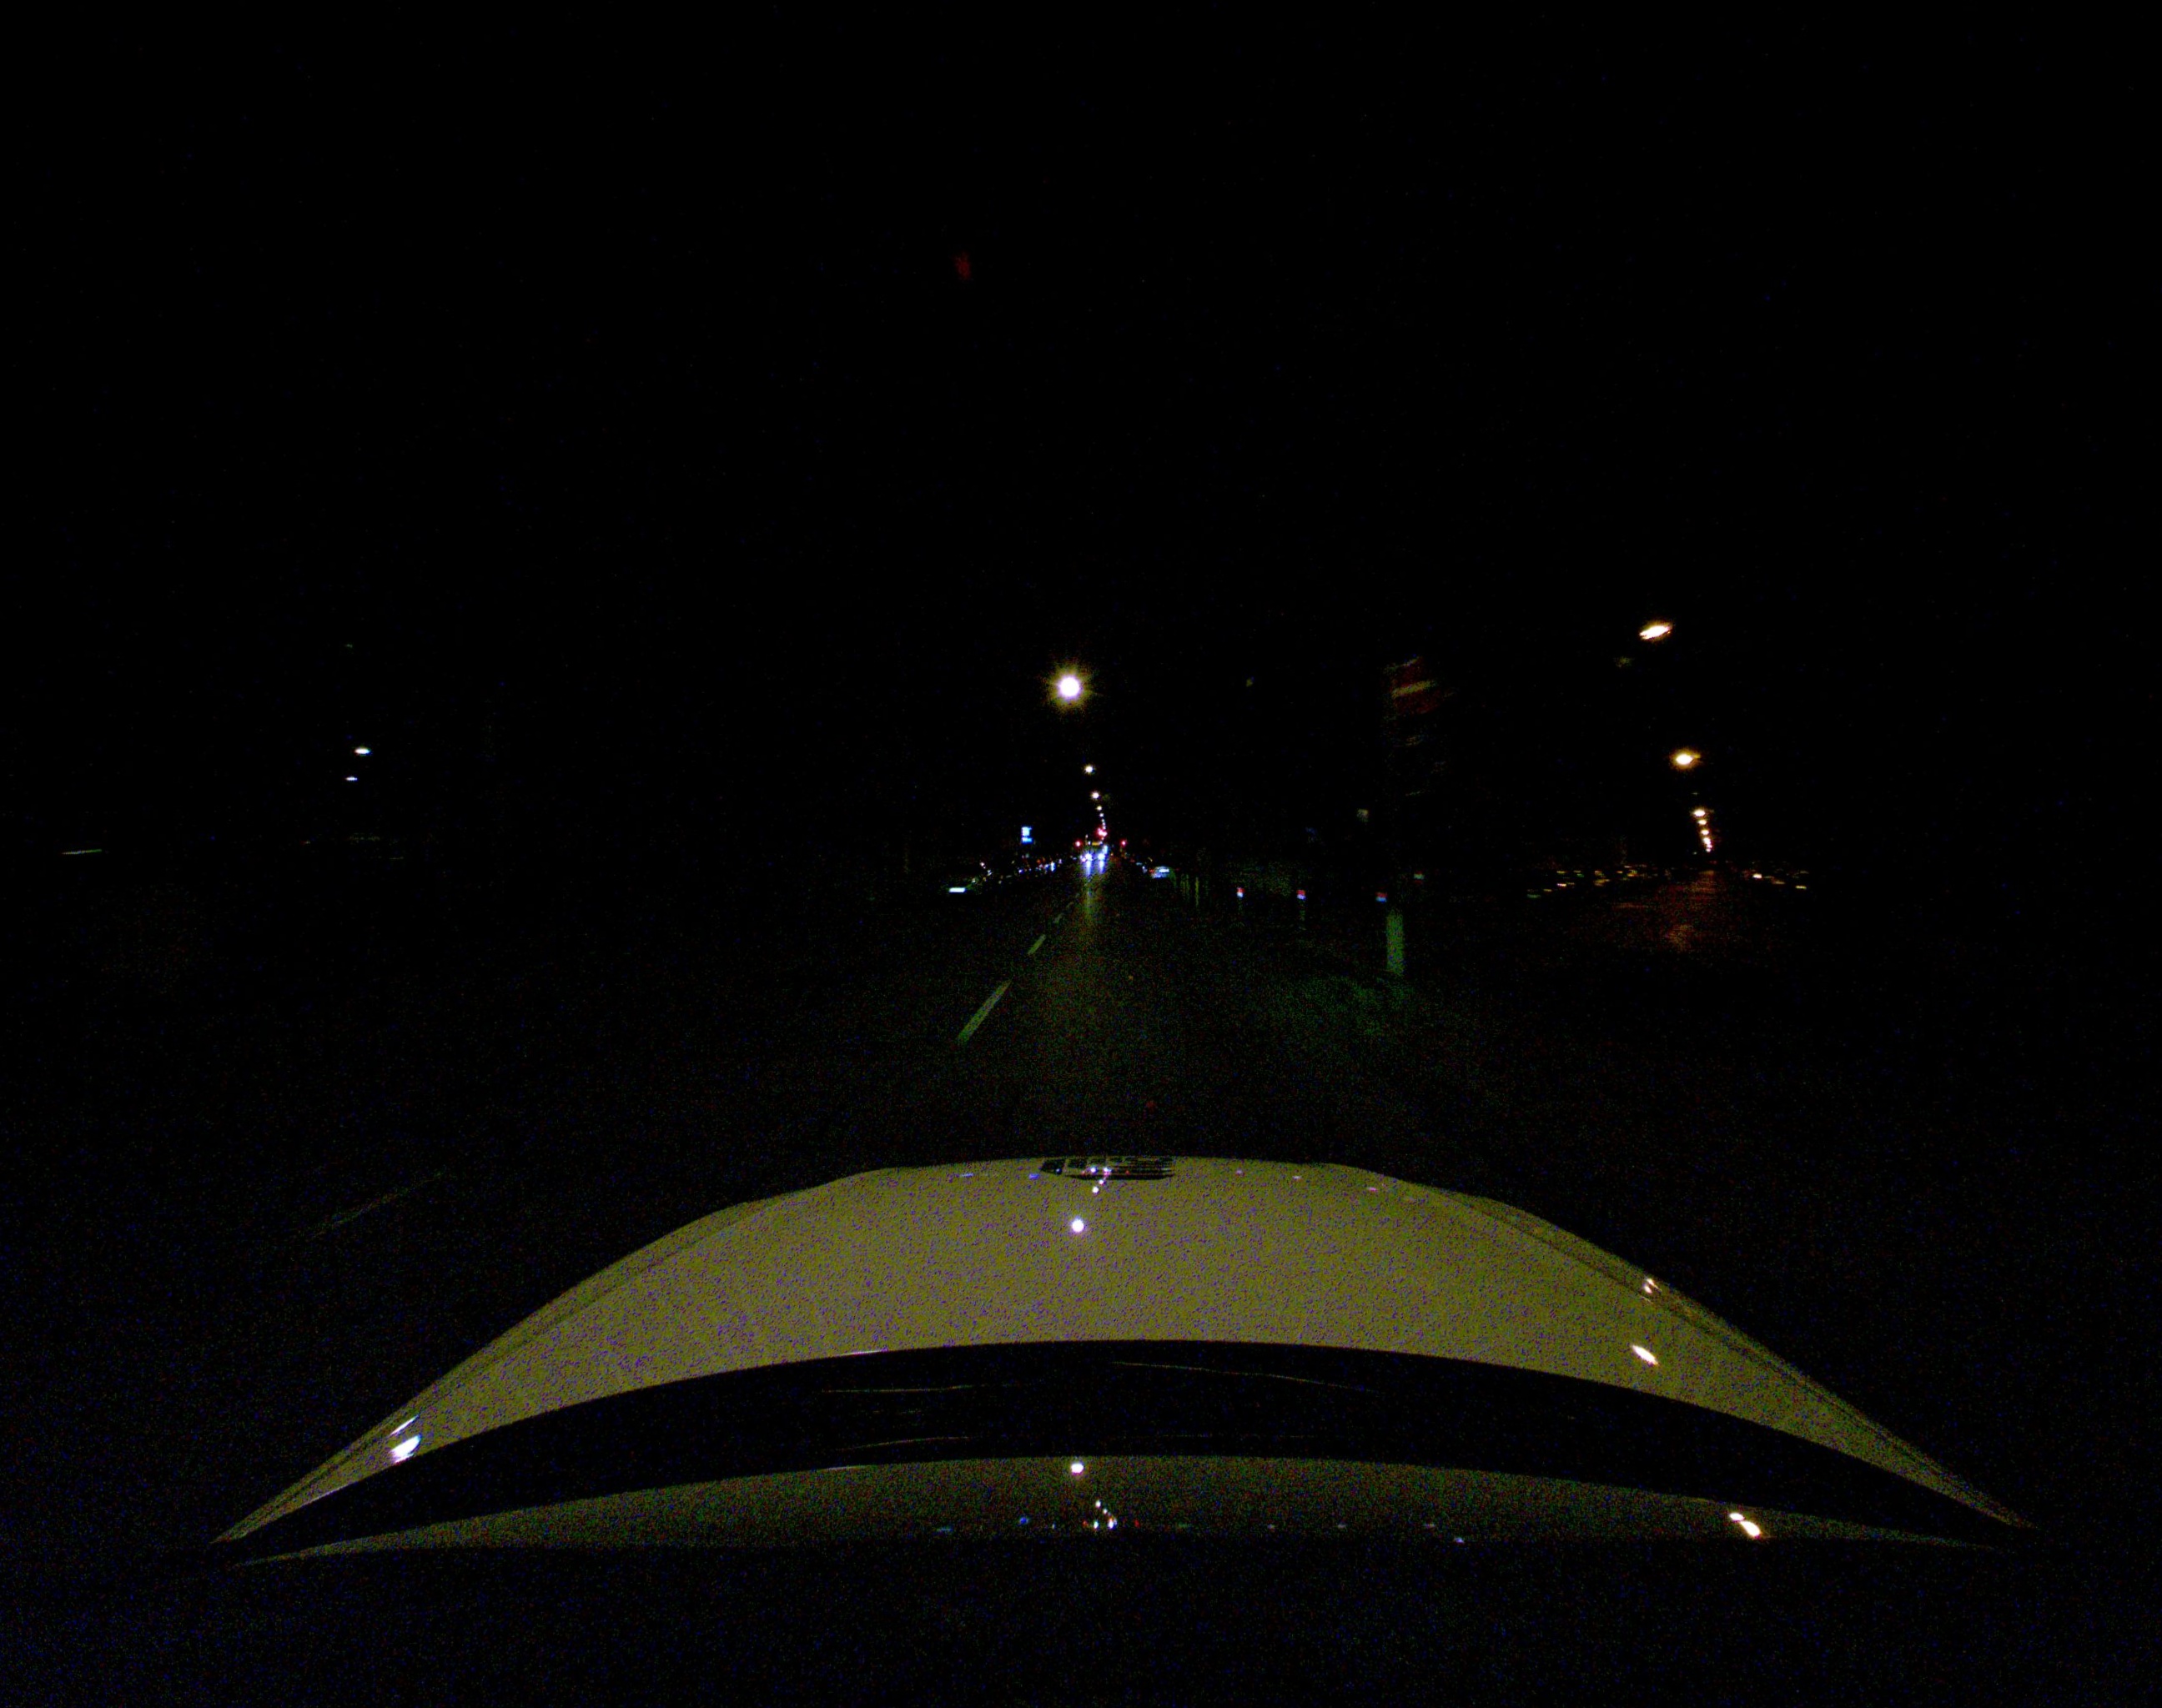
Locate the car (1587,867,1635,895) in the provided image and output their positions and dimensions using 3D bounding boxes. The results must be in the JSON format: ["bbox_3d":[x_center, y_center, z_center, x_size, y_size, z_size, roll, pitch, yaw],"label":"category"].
[{"bbox_3d":[28.498,1.411,43.728,1.752,1.417,3.944,0,-1,39],"label":"car"}]

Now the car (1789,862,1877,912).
[{"bbox_3d":[23.486,0.967,25.543,1.779,1.417,3.861,0,-1,39],"label":"car"}]

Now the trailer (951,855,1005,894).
[{"bbox_3d":[-4.524,0.882,36.224,1.629,1.639,3.445,0,0,6],"label":"trailer"}]

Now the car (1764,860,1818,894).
[{"bbox_3d":[37.051,1.156,42.577,1.974,1.704,4.056,0,-1,39],"label":"car"}]

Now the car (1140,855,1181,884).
[{"bbox_3d":[4.315,0.827,44.780,1.838,1.417,4.646,-4,0,1],"label":"car"}]

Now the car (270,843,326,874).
[{"bbox_3d":[-40.004,0.195,41.664,1.777,1.481,3.668,0,1,-40],"label":"car"}]

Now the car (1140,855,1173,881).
[{"bbox_3d":[4.618,0.833,50.399,1.764,1.448,4.021,-1,0,1],"label":"car"}]

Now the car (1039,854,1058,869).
[{"bbox_3d":[-3.165,0.723,79.994,1.631,1.498,2.768,-1,0,3],"label":"car"}]

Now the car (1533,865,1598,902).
[{"bbox_3d":[20.299,1.202,34.058,1.779,1.417,3.861,0,-1,39],"label":"car"}]

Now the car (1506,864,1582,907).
[{"bbox_3d":[16.756,1.094,29.387,1.779,1.417,3.861,0,-1,39],"label":"car"}]

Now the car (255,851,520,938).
[{"bbox_3d":[-13.308,0.728,15.724,3.961,1.425,1.767,2,0,11],"label":"car"}]

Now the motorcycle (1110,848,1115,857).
[{"bbox_3d":[6.301,-0.216,163.549,0.927,1.752,2.626,0,0,2],"label":"motorcycle"}]

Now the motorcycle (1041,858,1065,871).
[{"bbox_3d":[-2.601,0.979,74.478,2.180,1.131,0.720,-1,1,35],"label":"motorcycle"}]

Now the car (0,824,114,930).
[{"bbox_3d":[-17.454,0.316,11.822,1.745,1.606,3.992,2,0,11],"label":"car"}]

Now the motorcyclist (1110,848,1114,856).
[{"bbox_3d":[6.302,-0.419,163.629,0.845,1.752,0.806,0,-1,2],"label":"motorcyclist"}]

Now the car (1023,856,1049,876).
[{"bbox_3d":[-3.302,0.877,60.480,1.616,1.491,3.781,0,0,1],"label":"car"}]

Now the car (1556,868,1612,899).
[{"bbox_3d":[23.780,1.345,38.438,1.752,1.341,3.944,0,-1,39],"label":"car"}]

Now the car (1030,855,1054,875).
[{"bbox_3d":[-3.221,0.880,68.220,1.698,1.491,4.229,-2,1,1],"label":"car"}]

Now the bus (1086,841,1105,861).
[{"bbox_3d":[2.455,-0.492,133.280,2.826,3.177,10.504,0,1,2],"label":"bus"}]

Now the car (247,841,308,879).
[{"bbox_3d":[-34.805,0.220,35.337,1.778,1.481,3.666,0,2,-43],"label":"car"}]

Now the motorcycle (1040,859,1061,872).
[{"bbox_3d":[-2.727,0.990,72.460,0.719,1.147,2.183,-2,1,-40],"label":"motorcycle"}]

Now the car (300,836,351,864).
[{"bbox_3d":[-45.571,-0.209,49.187,1.821,1.635,3.584,1,-1,-36],"label":"car"}]

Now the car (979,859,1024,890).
[{"bbox_3d":[-4.052,1.019,42.176,1.829,1.446,4.545,-1,1,1],"label":"car"}]

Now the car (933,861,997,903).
[{"bbox_3d":[-4.422,1.030,31.648,1.808,1.484,4.348,-1,0,0],"label":"car"}]

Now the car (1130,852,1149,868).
[{"bbox_3d":[5.958,0.621,83.258,1.756,1.476,4.083,-2,1,2],"label":"car"}]

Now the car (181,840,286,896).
[{"bbox_3d":[-25.470,0.399,24.586,1.739,1.560,3.344,1,-1,-39],"label":"car"}]

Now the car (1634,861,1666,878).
[{"bbox_3d":[48.424,1.314,69.256,1.752,1.441,3.943,0,-1,42],"label":"car"}]

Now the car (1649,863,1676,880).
[{"bbox_3d":[56.384,1.663,78.936,1.838,1.552,4.025,0,-1,40],"label":"car"}]

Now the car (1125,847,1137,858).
[{"bbox_3d":[8.110,-0.222,132.098,1.805,1.594,4.276,-2,1,2],"label":"car"}]

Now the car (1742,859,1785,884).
[{"bbox_3d":[50.694,1.253,60.565,1.974,1.802,4.025,0,-1,33],"label":"car"}]

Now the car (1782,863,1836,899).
[{"bbox_3d":[34.120,1.223,38.244,1.779,1.579,3.861,0,-1,41],"label":"car"}]

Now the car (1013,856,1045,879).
[{"bbox_3d":[-3.519,0.882,55.876,1.857,1.491,4.281,0,0,1],"label":"car"}]

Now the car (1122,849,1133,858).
[{"bbox_3d":[8.264,-0.093,145.424,1.861,1.526,4.152,-2,1,2],"label":"car"}]

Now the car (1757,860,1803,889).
[{"bbox_3d":[42.487,1.214,49.580,1.974,1.704,4.020,0,-1,39],"label":"car"}]

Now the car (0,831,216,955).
[{"bbox_3d":[-14.486,0.468,10.645,1.750,1.538,4.188,2,0,1],"label":"car"}]

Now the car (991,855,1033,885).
[{"bbox_3d":[-3.952,0.909,47.348,1.828,1.619,4.547,0,0,2],"label":"car"}]
